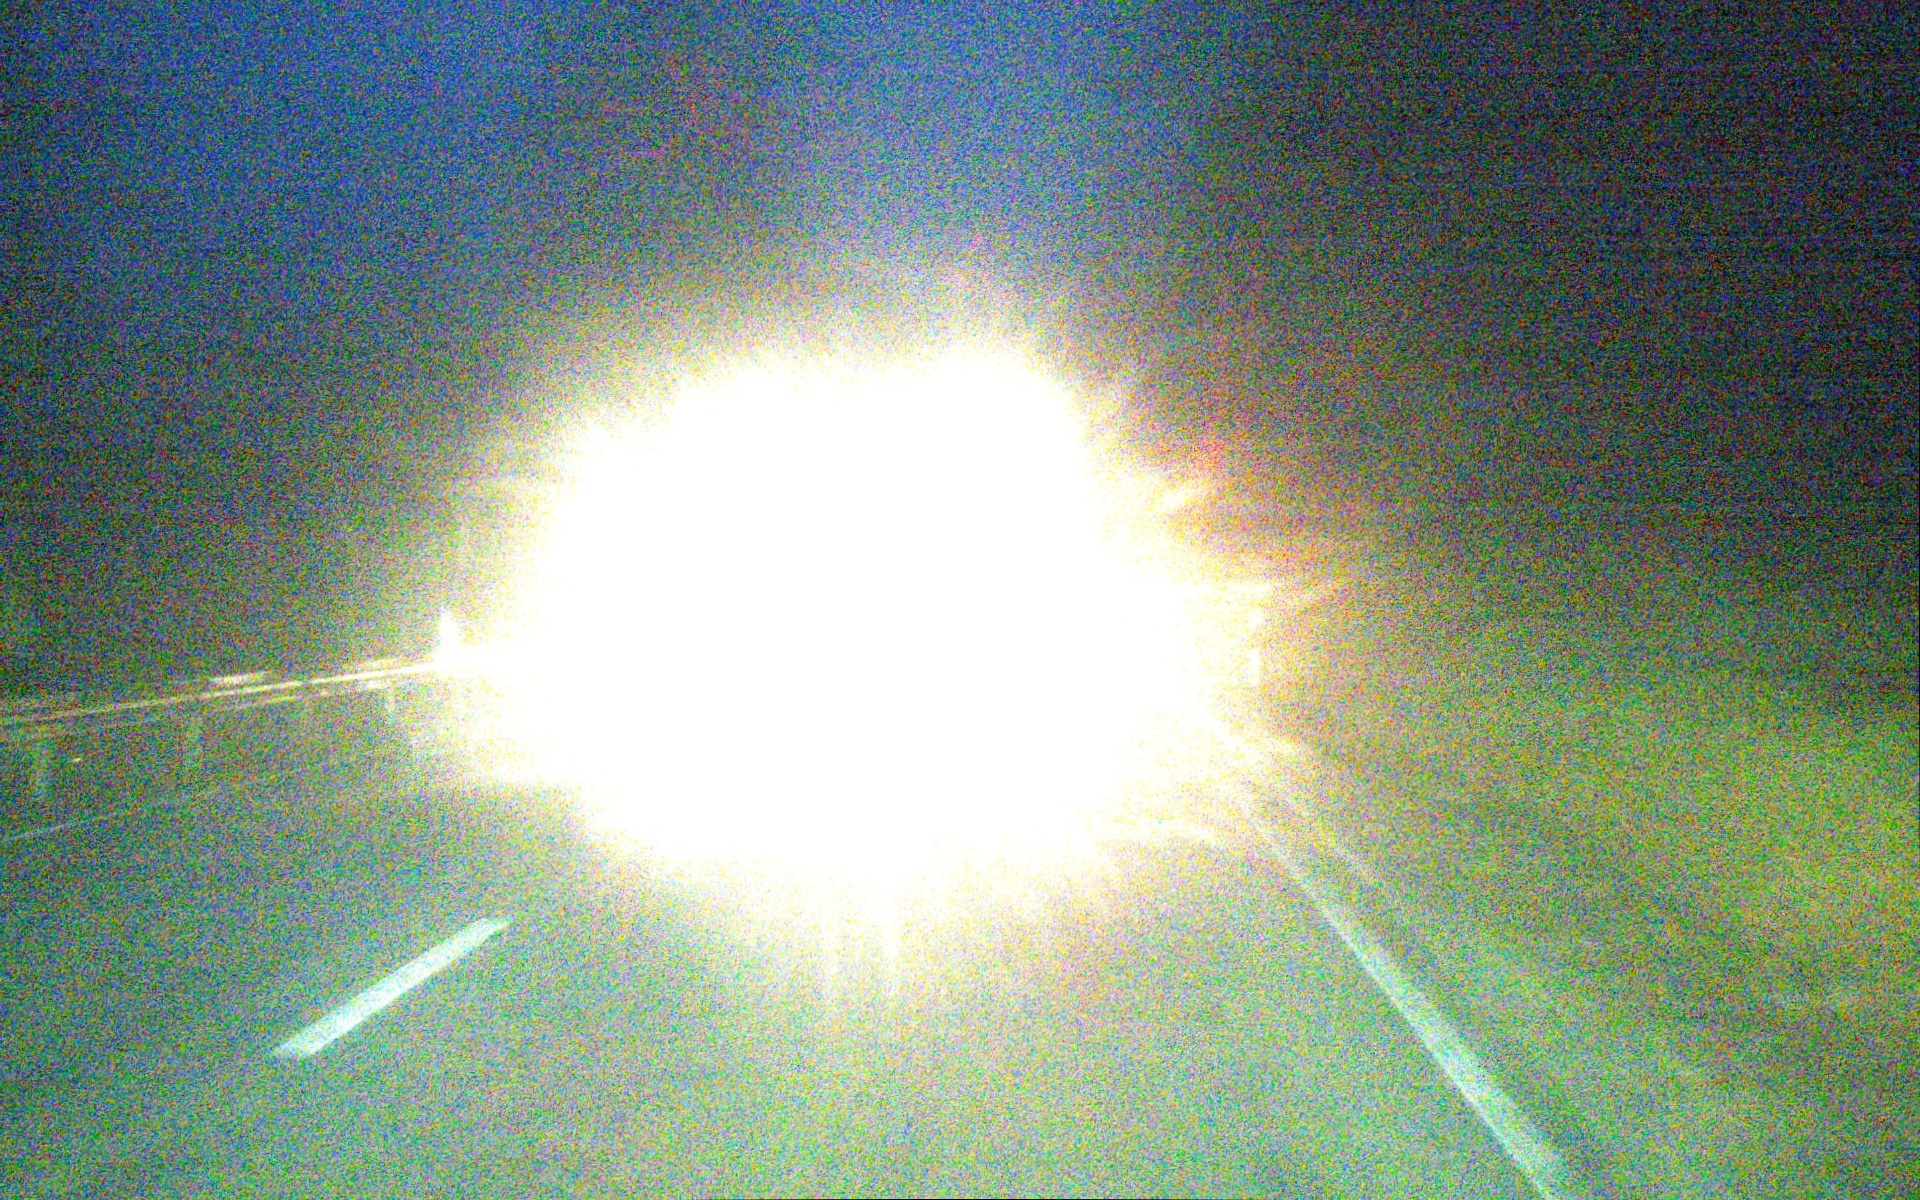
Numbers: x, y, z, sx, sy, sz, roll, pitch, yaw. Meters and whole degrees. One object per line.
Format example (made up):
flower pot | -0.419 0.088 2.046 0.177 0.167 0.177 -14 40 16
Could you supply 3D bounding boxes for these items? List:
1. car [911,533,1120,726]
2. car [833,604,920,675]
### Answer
car | 0.530 0.260 36.399 1.993 1.800 3.918 -2 2 -1
car | -2.053 0.972 85.812 1.800 1.574 4.457 -3 1 2
